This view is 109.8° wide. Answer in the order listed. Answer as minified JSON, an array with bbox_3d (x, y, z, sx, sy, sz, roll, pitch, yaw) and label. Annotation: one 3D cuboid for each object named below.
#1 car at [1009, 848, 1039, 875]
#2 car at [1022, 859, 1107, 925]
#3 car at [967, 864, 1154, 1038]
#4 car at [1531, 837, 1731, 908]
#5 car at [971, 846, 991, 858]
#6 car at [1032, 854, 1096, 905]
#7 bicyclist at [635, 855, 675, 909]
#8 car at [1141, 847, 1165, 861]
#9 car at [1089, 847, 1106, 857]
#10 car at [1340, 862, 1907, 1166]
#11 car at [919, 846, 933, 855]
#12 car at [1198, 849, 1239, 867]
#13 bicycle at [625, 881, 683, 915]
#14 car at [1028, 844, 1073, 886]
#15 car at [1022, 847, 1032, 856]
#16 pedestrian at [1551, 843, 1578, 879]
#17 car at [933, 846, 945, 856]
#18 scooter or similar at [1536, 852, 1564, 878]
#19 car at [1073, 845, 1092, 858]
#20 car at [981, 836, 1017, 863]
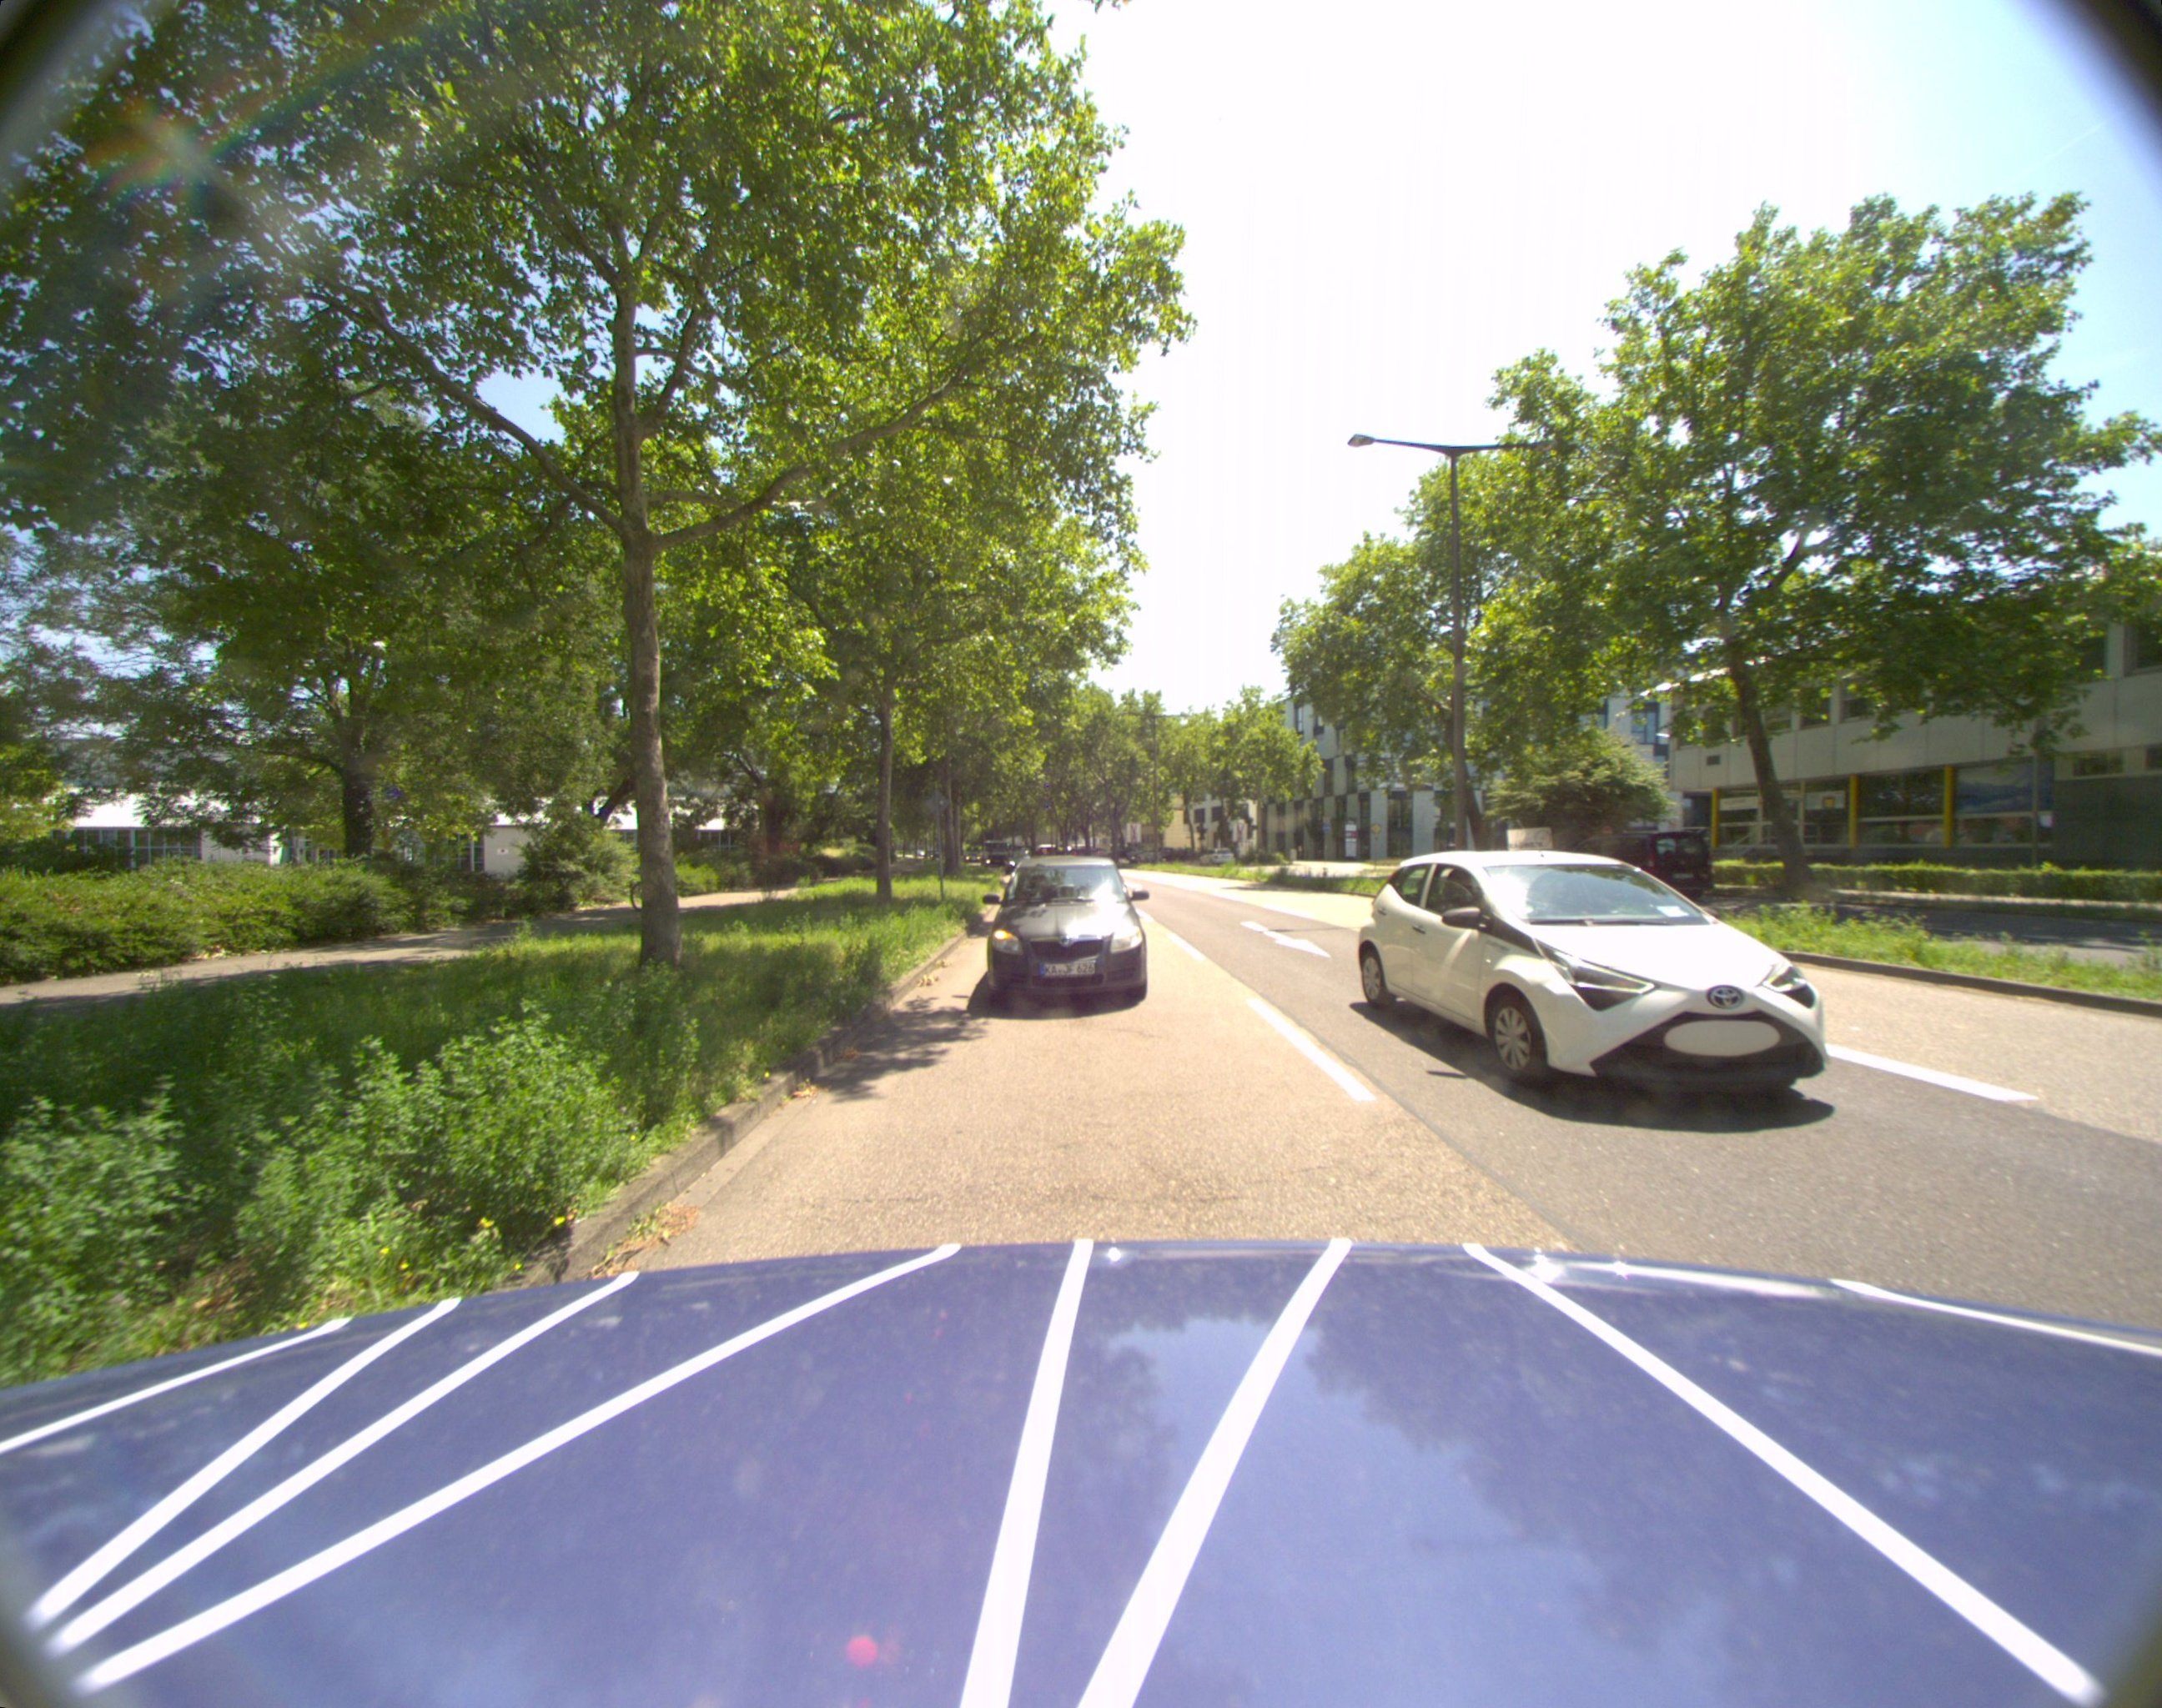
[{"bbox_3d":[-3.901,0.458,52.245,1.999,1.783,3.998,0,1,-3],"label":"car"},{"bbox_3d":[-0.394,0.839,18.332,1.791,1.325,3.742,-1,1,-1],"label":"car"},{"bbox_3d":[-0.224,0.896,8.768,1.654,1.454,3.864,-1,1,-1],"label":"car"},{"bbox_3d":[14.671,0.431,20.642,1.917,1.669,4.441,-1,0,-7],"label":"car"},{"bbox_3d":[-13.006,-0.284,98.765,2.001,1.608,3.994,0,1,-15],"label":"car"},{"bbox_3d":[-0.549,0.754,24.643,1.878,1.448,3.785,-1,1,-1],"label":"car"},{"bbox_3d":[-10.843,0.701,19.343,0.600,1.331,0.666,0,1,2],"label":"bicyclist"},{"bbox_3d":[7.717,-0.003,81.941,1.737,1.451,3.670,0,1,-8],"label":"car"},{"bbox_3d":[2.325,-0.272,107.577,1.757,1.435,3.668,0,1,-11],"label":"car"},{"bbox_3d":[3.431,0.843,5.747,1.623,1.437,3.651,-2,1,0],"label":"car"},{"bbox_3d":[-32.123,-0.692,157.402,2.002,1.827,3.992,-1,1,-23],"label":"car"},{"bbox_3d":[11.056,0.297,61.392,1.859,1.410,4.543,0,1,-8],"label":"car"},{"bbox_3d":[-10.840,1.103,19.338,0.465,0.760,1.668,0,1,2],"label":"bicycle"},{"bbox_3d":[-1.475,0.473,35.984,1.999,1.871,3.998,-1,0,-3],"label":"car"},{"bbox_3d":[-9.083,-0.361,128.284,1.537,1.519,2.852,0,1,-8],"label":"car"},{"bbox_3d":[20.964,0.289,32.954,0.644,1.551,0.790,-1,1,-7],"label":"pedestrian"},{"bbox_3d":[-27.163,-0.606,145.254,2.001,1.827,3.994,0,1,-15],"label":"car"},{"bbox_3d":[20.859,0.482,33.787,0.680,1.157,0.858,0,1,-7],"label":"scooter or similar"},{"bbox_3d":[0.135,-0.319,99.370,1.955,1.646,4.617,0,1,-7],"label":"car"},{"bbox_3d":[-8.339,-0.497,76.810,2.921,2.639,6.358,-1,1,-13],"label":"car"}]
